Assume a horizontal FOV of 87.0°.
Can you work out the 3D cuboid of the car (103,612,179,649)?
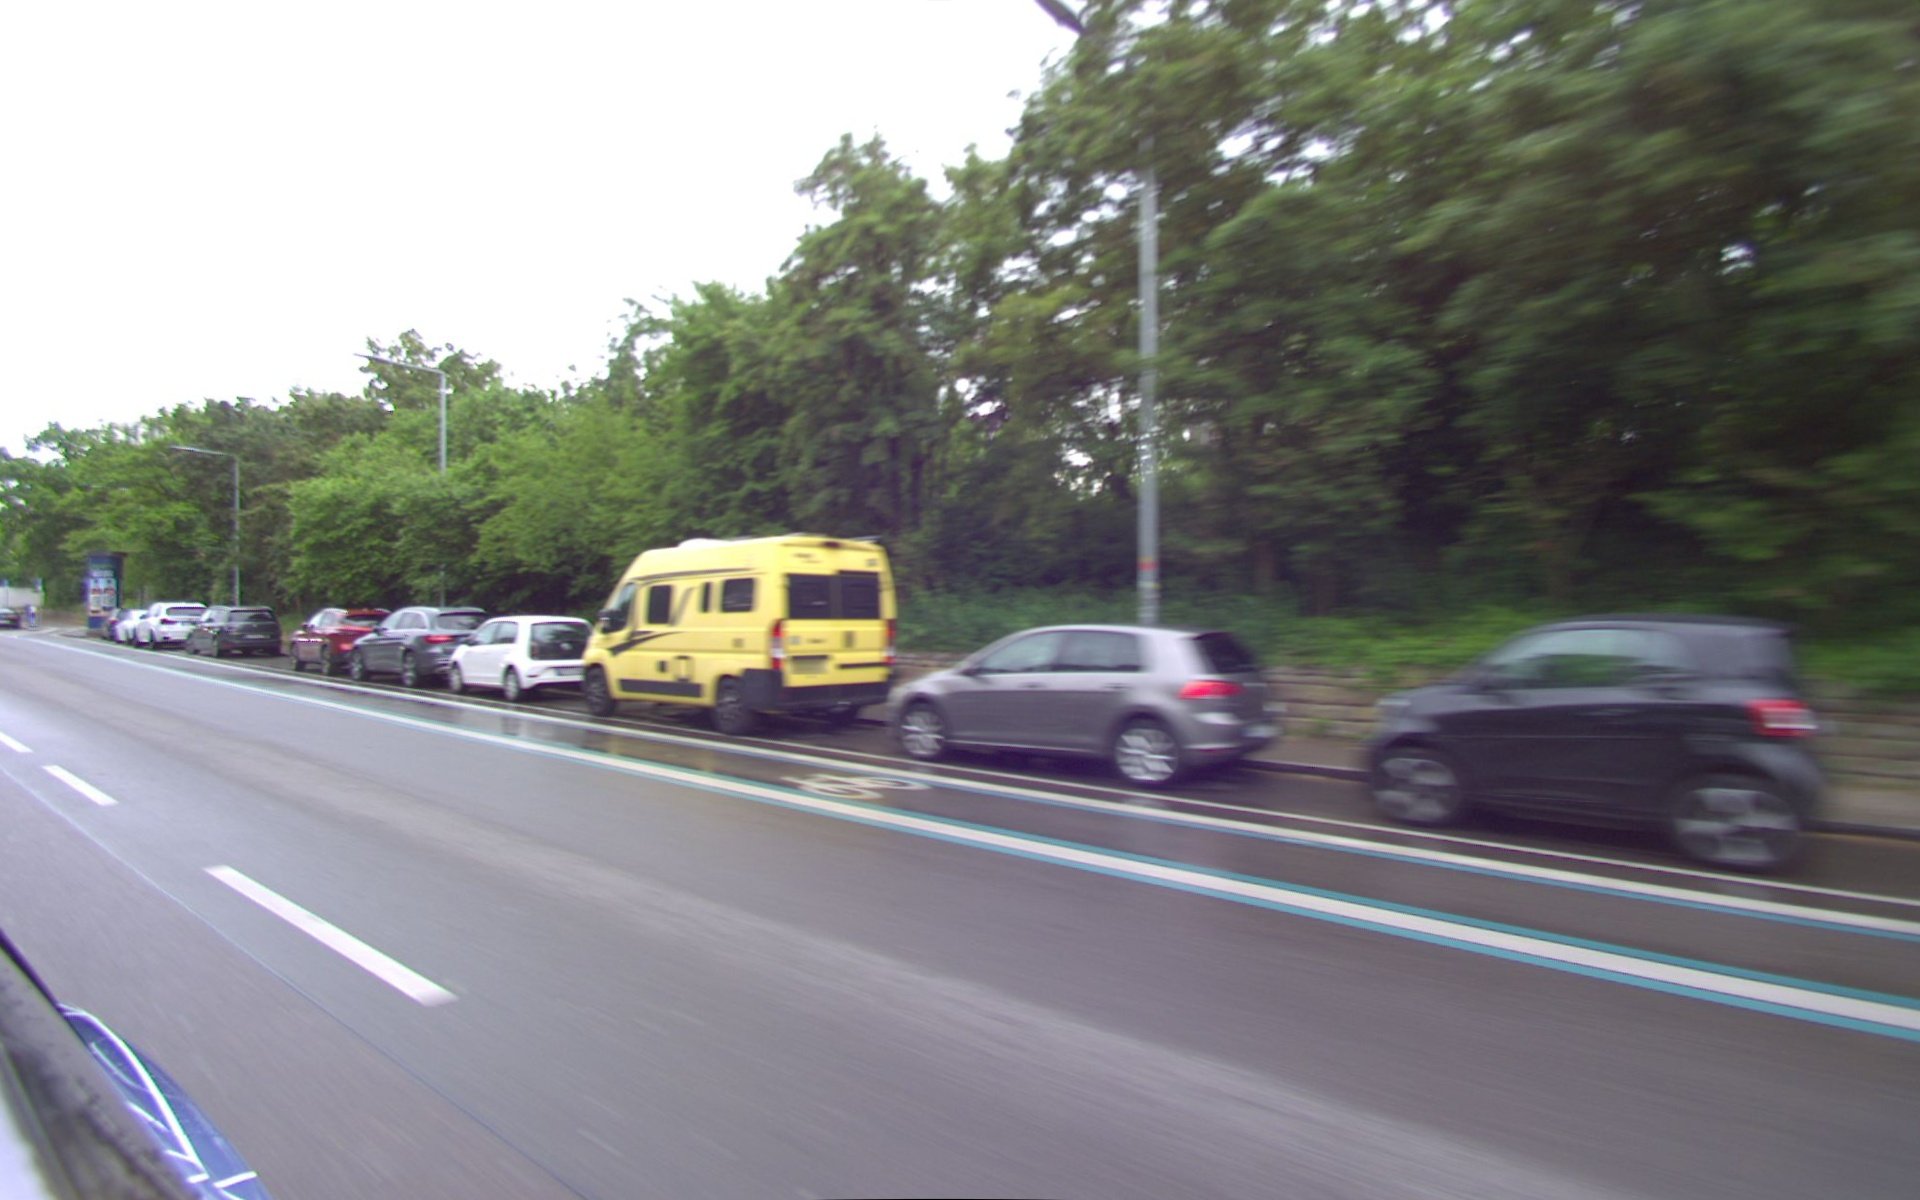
[{"bbox_3d":[-34.659,1.246,42.797,4.705,1.471,1.700,-1,-1,41],"label":"car"}]

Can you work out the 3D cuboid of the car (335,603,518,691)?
[{"bbox_3d":[-11.684,0.958,22.029,4.612,1.713,1.973,-1,-1,40],"label":"car"}]

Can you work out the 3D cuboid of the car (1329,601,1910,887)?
[{"bbox_3d":[4.436,0.790,7.052,3.139,1.521,1.585,-1,-1,43],"label":"car"}]

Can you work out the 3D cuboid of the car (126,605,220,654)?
[{"bbox_3d":[-30.237,1.076,38.838,4.958,1.778,1.973,0,0,41],"label":"car"}]

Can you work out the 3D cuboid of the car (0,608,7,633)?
[{"bbox_3d":[-66.013,1.358,68.404,4.926,1.601,1.822,1,1,41],"label":"car"}]

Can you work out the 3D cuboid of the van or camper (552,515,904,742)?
[{"bbox_3d":[-3.527,0.372,14.517,5.682,2.647,2.120,-1,-1,43],"label":"van or camper"}]

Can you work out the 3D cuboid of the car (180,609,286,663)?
[{"bbox_3d":[-24.105,1.143,33.494,4.566,1.661,1.714,-1,0,39],"label":"car"}]

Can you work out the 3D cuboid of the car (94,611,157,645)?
[{"bbox_3d":[-38.460,1.272,46.598,4.588,1.456,1.729,-1,0,44],"label":"car"}]

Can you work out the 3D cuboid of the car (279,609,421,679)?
[{"bbox_3d":[-15.634,1.069,25.836,4.489,1.629,1.898,-1,-1,42],"label":"car"}]

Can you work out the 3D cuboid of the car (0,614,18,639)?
[{"bbox_3d":[-61.409,1.660,64.206,4.781,1.425,1.886,1,1,41],"label":"car"}]

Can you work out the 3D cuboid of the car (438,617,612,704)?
[{"bbox_3d":[-8.123,1.056,18.778,3.656,1.460,1.600,-1,-2,42],"label":"car"}]

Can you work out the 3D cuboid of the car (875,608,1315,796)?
[{"bbox_3d":[1.211,0.863,10.154,4.145,1.510,1.662,-1,-2,40],"label":"car"}]
